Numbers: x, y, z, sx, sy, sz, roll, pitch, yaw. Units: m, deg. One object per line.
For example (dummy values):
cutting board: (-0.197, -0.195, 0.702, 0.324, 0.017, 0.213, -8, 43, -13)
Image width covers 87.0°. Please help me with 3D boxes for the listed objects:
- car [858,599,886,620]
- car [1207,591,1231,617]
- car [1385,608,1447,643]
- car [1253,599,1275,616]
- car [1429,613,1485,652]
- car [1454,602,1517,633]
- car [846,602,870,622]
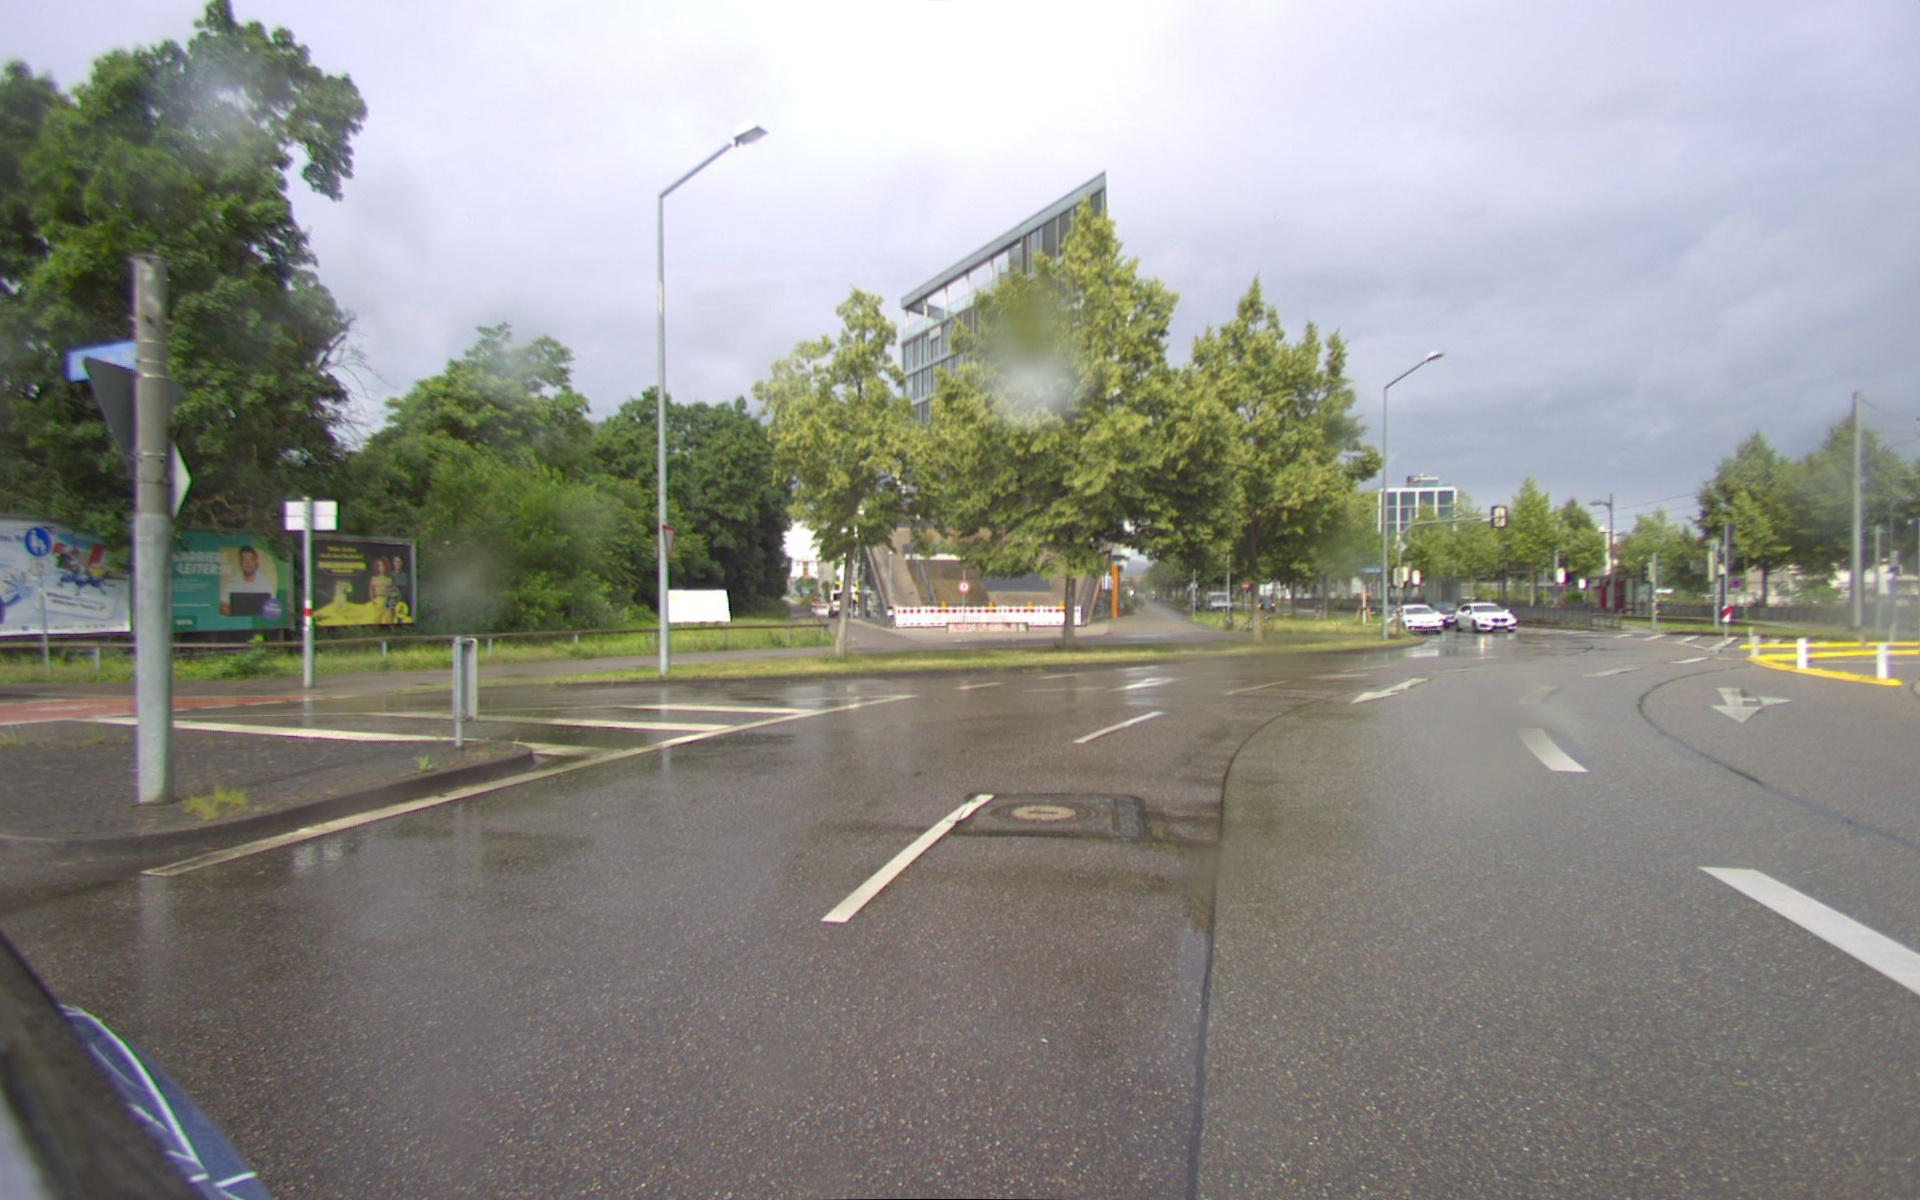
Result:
car: (-7.169, 0.790, 83.053, 1.841, 1.685, 4.469, 0, -2, 1)
car: (24.826, 0.422, 97.068, 1.847, 2.377, 4.455, -1, -2, 11)
car: (23.168, 1.291, 51.569, 1.846, 1.685, 4.455, -1, -2, 10)
car: (32.690, 0.859, 108.808, 1.847, 1.758, 4.072, -1, -2, 11)
car: (28.281, 1.823, 57.676, 1.980, 2.029, 3.983, -1, 0, 13)
car: (26.215, 0.846, 50.638, 1.708, 1.519, 3.891, -1, 0, 11)
car: (-8.955, 1.093, 88.849, 1.839, 1.685, 4.473, 0, -2, -2)
